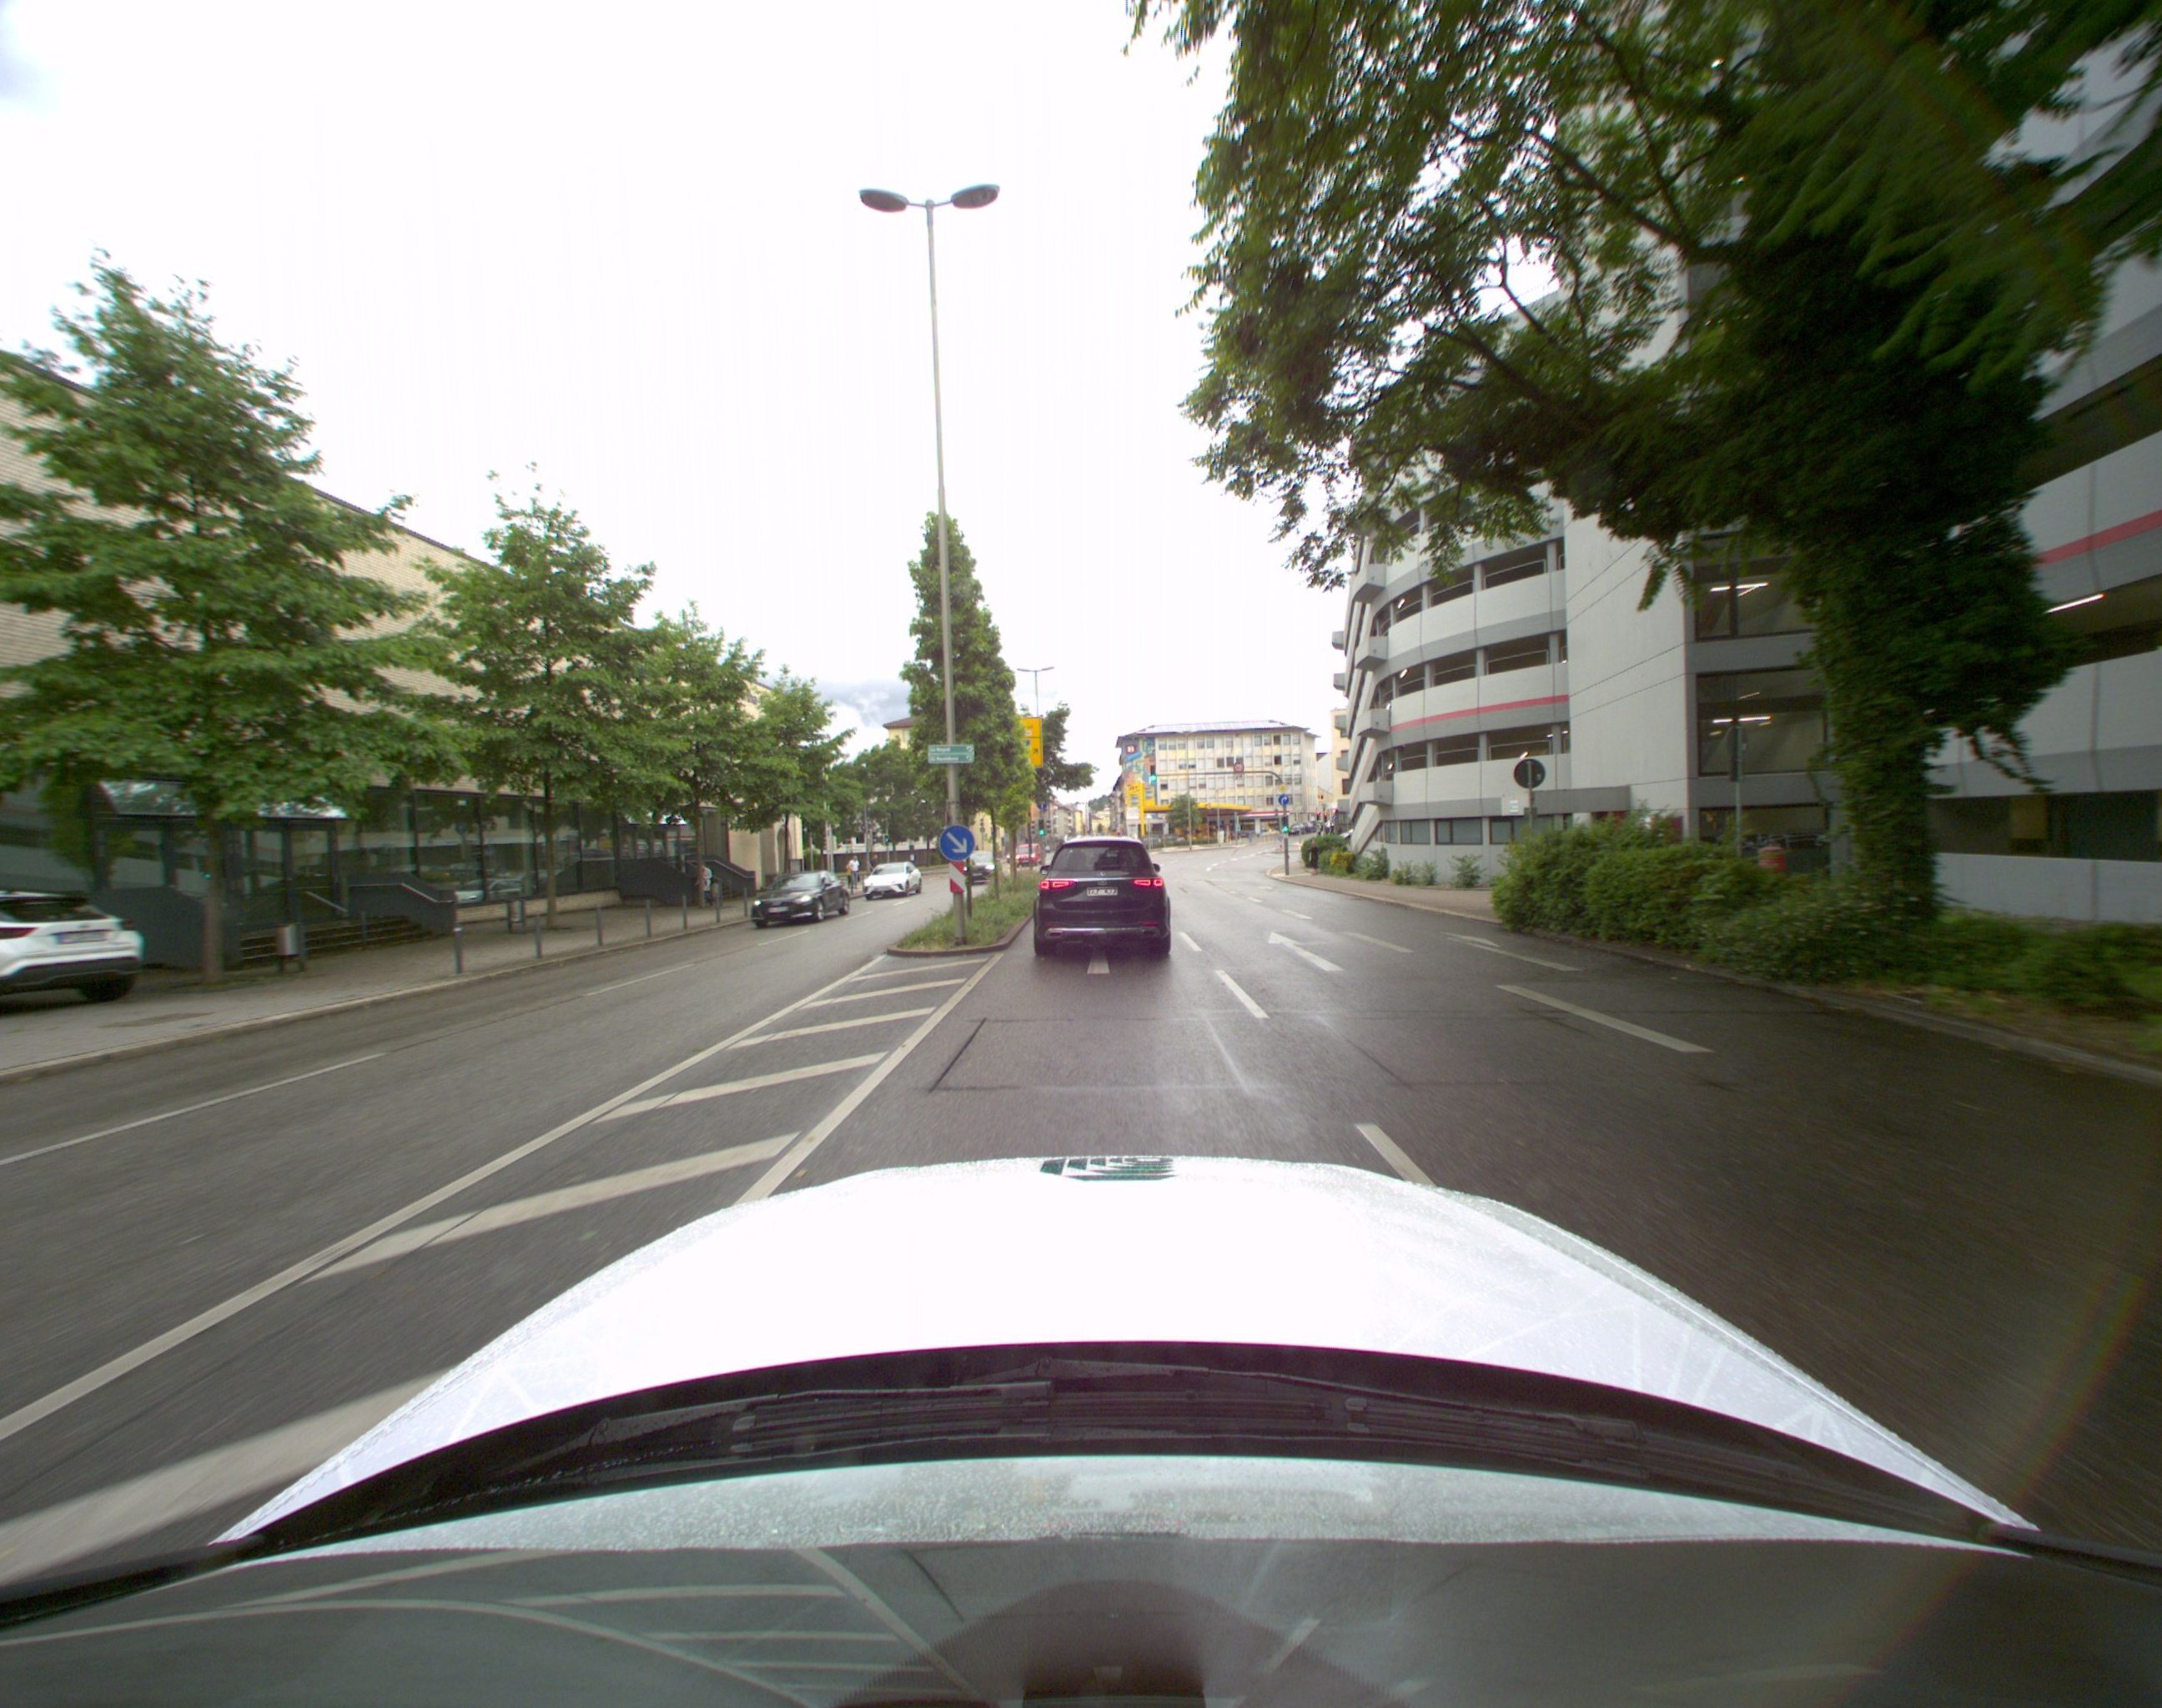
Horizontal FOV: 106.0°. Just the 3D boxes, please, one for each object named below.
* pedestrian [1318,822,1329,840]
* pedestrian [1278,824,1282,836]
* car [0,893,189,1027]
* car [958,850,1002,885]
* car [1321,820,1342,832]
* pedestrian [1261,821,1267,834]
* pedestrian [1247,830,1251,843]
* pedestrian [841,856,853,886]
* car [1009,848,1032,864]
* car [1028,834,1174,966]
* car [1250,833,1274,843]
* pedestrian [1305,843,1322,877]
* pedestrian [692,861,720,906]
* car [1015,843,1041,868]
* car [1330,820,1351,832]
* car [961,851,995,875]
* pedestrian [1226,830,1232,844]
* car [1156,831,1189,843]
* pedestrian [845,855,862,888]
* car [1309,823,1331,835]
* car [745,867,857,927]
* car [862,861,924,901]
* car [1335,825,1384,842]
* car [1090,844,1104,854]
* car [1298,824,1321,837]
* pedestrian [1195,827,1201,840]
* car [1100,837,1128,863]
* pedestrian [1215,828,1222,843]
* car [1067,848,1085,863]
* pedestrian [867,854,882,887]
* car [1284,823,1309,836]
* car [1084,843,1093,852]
[{"bbox_3d":[28.512,-2.701,95.805,0.853,2.128,0.947,-3,0,-4],"label":"pedestrian"},{"bbox_3d":[27.879,-3.375,114.186,0.478,1.641,0.441,-1,-1,30],"label":"pedestrian"},{"bbox_3d":[-15.105,1.343,10.923,4.159,1.547,2.001,0,-1,3],"label":"car"},{"bbox_3d":[-5.285,0.690,43.145,1.727,1.625,4.230,-4,0,-1],"label":"car"},{"bbox_3d":[39.149,-4.359,127.264,1.974,1.705,4.026,-3,1,35],"label":"car"},{"bbox_3d":[25.183,-3.603,112.219,0.521,1.727,0.693,-2,1,28],"label":"pedestrian"},{"bbox_3d":[18.327,-1.887,88.747,0.394,1.400,0.447,0,-1,3],"label":"pedestrian"},{"bbox_3d":[-12.502,0.898,43.478,0.437,1.534,0.545,-3,1,-1],"label":"pedestrian"},{"bbox_3d":[-6.286,0.234,85.010,1.840,1.429,4.436,-4,1,1],"label":"car"},{"bbox_3d":[0.333,0.649,13.190,1.986,1.800,4.001,0,-1,1],"label":"car"},{"bbox_3d":[27.372,-2.377,123.237,1.974,1.398,4.025,-1,-1,40],"label":"car"},{"bbox_3d":[11.724,0.291,41.051,0.639,1.710,0.474,-2,-2,38],"label":"pedestrian"},{"bbox_3d":[-14.099,1.098,30.641,0.641,1.666,1.017,0,-1,-4],"label":"pedestrian"},{"bbox_3d":[-4.407,0.135,68.266,1.787,1.854,4.791,-4,0,-1],"label":"car"},{"bbox_3d":[42.027,-4.509,131.786,1.974,1.705,4.026,-3,1,35],"label":"car"},{"bbox_3d":[-7.652,0.633,60.837,1.882,1.586,4.536,-4,0,0],"label":"car"},{"bbox_3d":[17.426,-2.003,95.737,0.570,1.697,0.631,0,-1,2],"label":"pedestrian"},{"bbox_3d":[11.647,-2.162,104.176,1.747,1.376,3.951,-3,1,-42],"label":"car"},{"bbox_3d":[-11.765,0.879,42.150,0.609,1.656,0.691,-3,1,-1],"label":"pedestrian"},{"bbox_3d":[35.884,-3.739,122.256,1.974,1.705,4.026,-3,1,35],"label":"car"},{"bbox_3d":[-7.967,1.178,23.588,1.727,1.393,4.198,-4,0,-1],"label":"car"},{"bbox_3d":[-8.240,1.152,36.043,1.727,1.469,4.230,-4,0,-1],"label":"car"},{"bbox_3d":[27.057,-1.963,79.175,4.160,1.439,1.863,-3,1,8],"label":"car"},{"bbox_3d":[2.616,-0.738,131.207,1.985,1.547,4.194,0,-1,4],"label":"car"},{"bbox_3d":[33.189,-3.404,118.095,1.974,1.705,4.026,-3,1,35],"label":"car"},{"bbox_3d":[16.031,-2.852,111.707,0.521,1.727,0.693,-2,1,31],"label":"pedestrian"},{"bbox_3d":[2.442,-0.261,60.512,1.986,1.800,4.001,0,-1,1],"label":"car"},{"bbox_3d":[16.382,-2.180,97.211,0.521,1.727,0.693,-2,1,28],"label":"pedestrian"},{"bbox_3d":[-0.550,0.168,92.664,1.987,1.614,4.190,0,-1,1],"label":"car"},{"bbox_3d":[-11.112,0.889,43.817,0.687,1.757,0.716,-2,0,-10],"label":"pedestrian"},{"bbox_3d":[30.153,-3.428,113.888,1.974,1.705,4.026,-3,1,35],"label":"car"},{"bbox_3d":[1.942,-1.570,201.810,1.986,2.014,4.002,0,-1,2],"label":"car"}]
